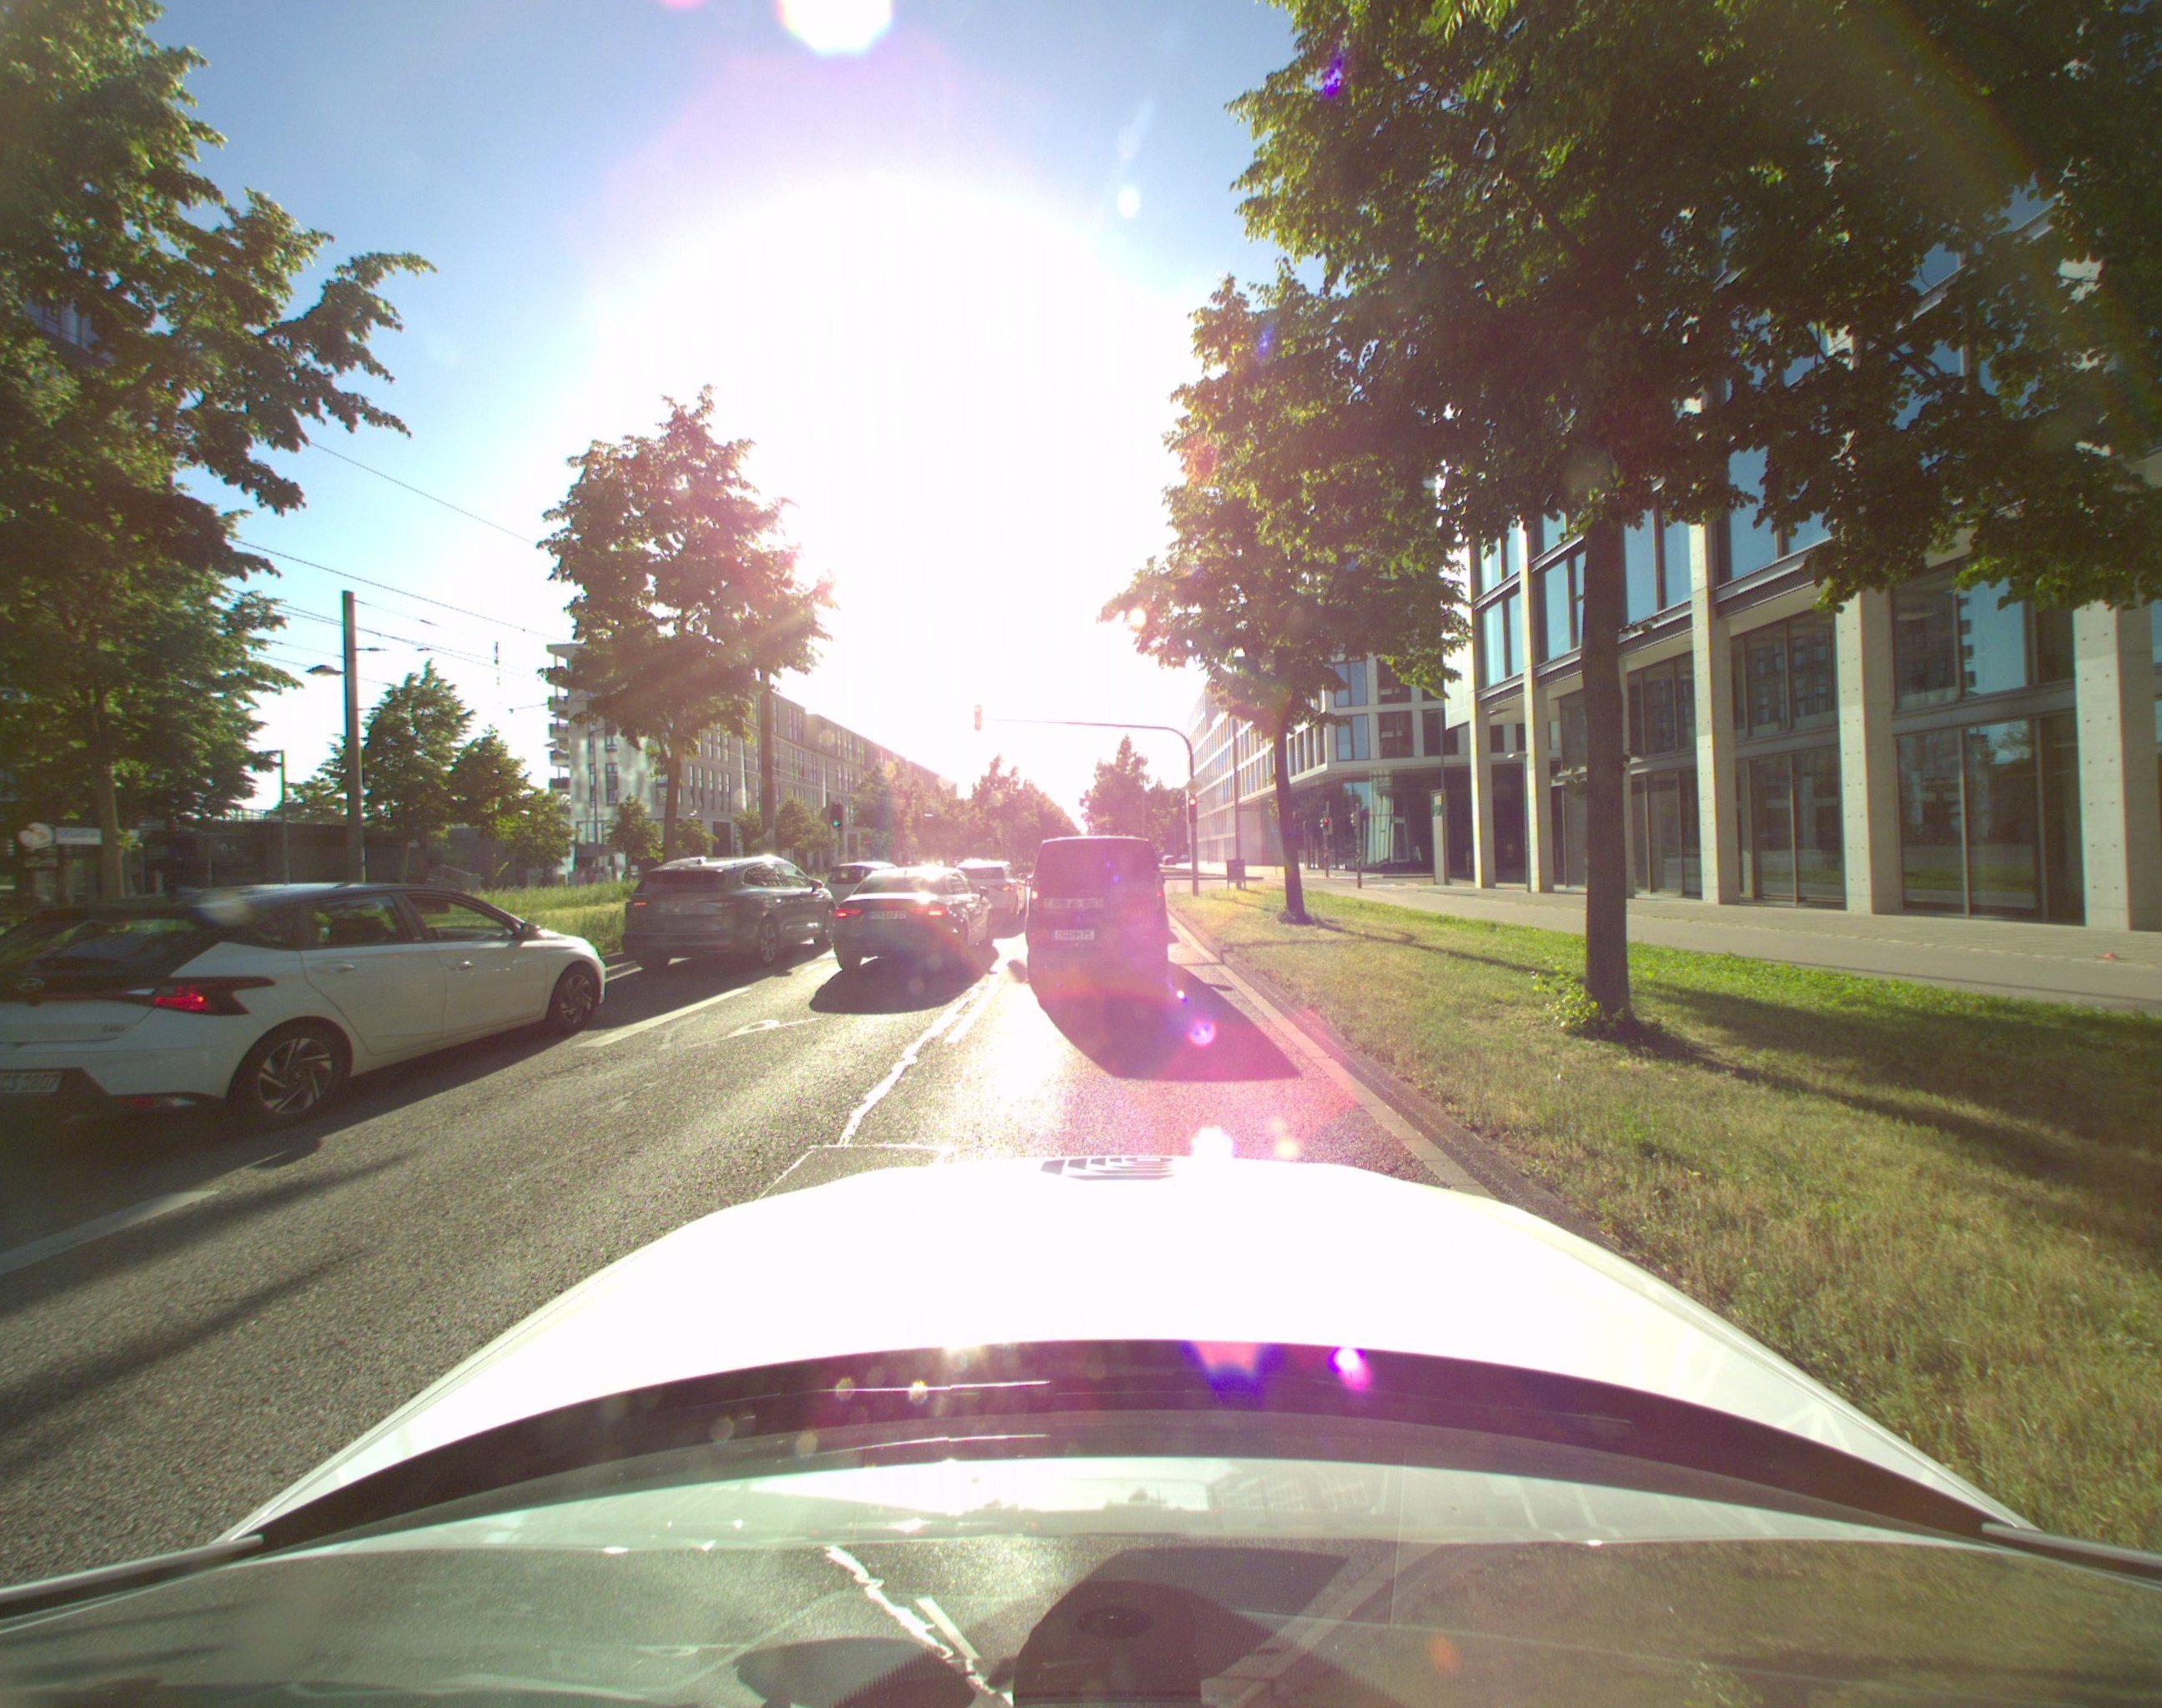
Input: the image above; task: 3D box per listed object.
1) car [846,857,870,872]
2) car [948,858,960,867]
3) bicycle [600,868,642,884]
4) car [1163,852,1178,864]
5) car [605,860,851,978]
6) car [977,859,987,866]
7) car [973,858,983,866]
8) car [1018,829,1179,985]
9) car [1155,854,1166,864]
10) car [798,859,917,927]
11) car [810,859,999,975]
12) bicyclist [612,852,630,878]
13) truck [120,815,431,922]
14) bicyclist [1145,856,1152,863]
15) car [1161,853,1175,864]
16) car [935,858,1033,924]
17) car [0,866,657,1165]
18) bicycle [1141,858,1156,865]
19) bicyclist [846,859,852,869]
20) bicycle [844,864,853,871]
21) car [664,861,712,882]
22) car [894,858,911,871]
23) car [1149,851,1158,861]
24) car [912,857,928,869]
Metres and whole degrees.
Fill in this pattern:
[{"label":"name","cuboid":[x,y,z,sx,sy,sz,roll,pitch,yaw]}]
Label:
[{"label":"car","cuboid":[-30.889,1.431,112.892,1.986,2.013,4.001,-2,0,2]},{"label":"car","cuboid":[-28.958,1.952,185.660,1.986,2.013,4.001,-2,0,2]},{"label":"bicycle","cuboid":[-37.889,1.799,67.068,2.931,1.190,0.818,-2,0,1]},{"label":"car","cuboid":[14.299,0.681,130.117,1.986,1.782,4.001,-2,0,2]},{"label":"car","cuboid":[-5.291,0.875,13.005,1.792,1.447,4.570,-2,0,1]},{"label":"car","cuboid":[-27.528,2.292,226.107,1.986,2.013,4.001,-2,0,2]},{"label":"car","cuboid":[-27.981,2.241,220.491,1.986,2.013,4.001,-2,0,2]},{"label":"car","cuboid":[0.267,0.621,11.506,1.835,1.780,4.001,-1,0,2]},{"label":"car","cuboid":[15.920,0.961,162.809,1.986,1.782,4.001,-2,0,2]},{"label":"car","cuboid":[-5.585,0.908,20.958,1.794,1.483,4.566,2,0,-1]},{"label":"car","cuboid":[-2.489,0.823,12.656,1.835,1.426,4.340,-1,0,2]},{"label":"bicyclist","cuboid":[-37.920,0.897,67.086,0.936,2.092,0.818,-2,0,2]},{"label":"truck","cuboid":[-33.587,0.541,34.945,2.880,3.853,10.217,-2,0,2]},{"label":"bicyclist","cuboid":[12.899,1.049,154.879,0.974,1.436,0.957,-2,0,36]},{"label":"car","cuboid":[14.408,0.723,135.126,1.986,1.782,4.001,-2,0,2]},{"label":"car","cuboid":[-2.282,0.827,20.085,1.797,1.426,3.902,-1,0,2]},{"label":"car","cuboid":[-5.519,0.875,6.468,1.793,1.447,4.569,-2,0,1]},{"label":"bicycle","cuboid":[12.828,1.422,154.938,2.611,1.106,0.957,-2,0,36]},{"label":"bicyclist","cuboid":[-36.193,1.622,126.859,0.674,1.529,0.714,-2,0,1]},{"label":"bicycle","cuboid":[-36.175,2.094,126.813,0.674,0.988,1.957,-2,0,2]},{"label":"car","cuboid":[-31.019,1.354,64.372,1.758,1.520,4.002,-2,0,2]},{"label":"car","cuboid":[-30.612,1.786,139.752,1.986,2.013,4.001,-2,0,2]},{"label":"car","cuboid":[17.816,0.445,200.514,1.986,2.497,4.988,-2,0,2]},{"label":"car","cuboid":[-30.143,1.674,152.580,1.986,2.013,4.001,-2,0,2]}]
